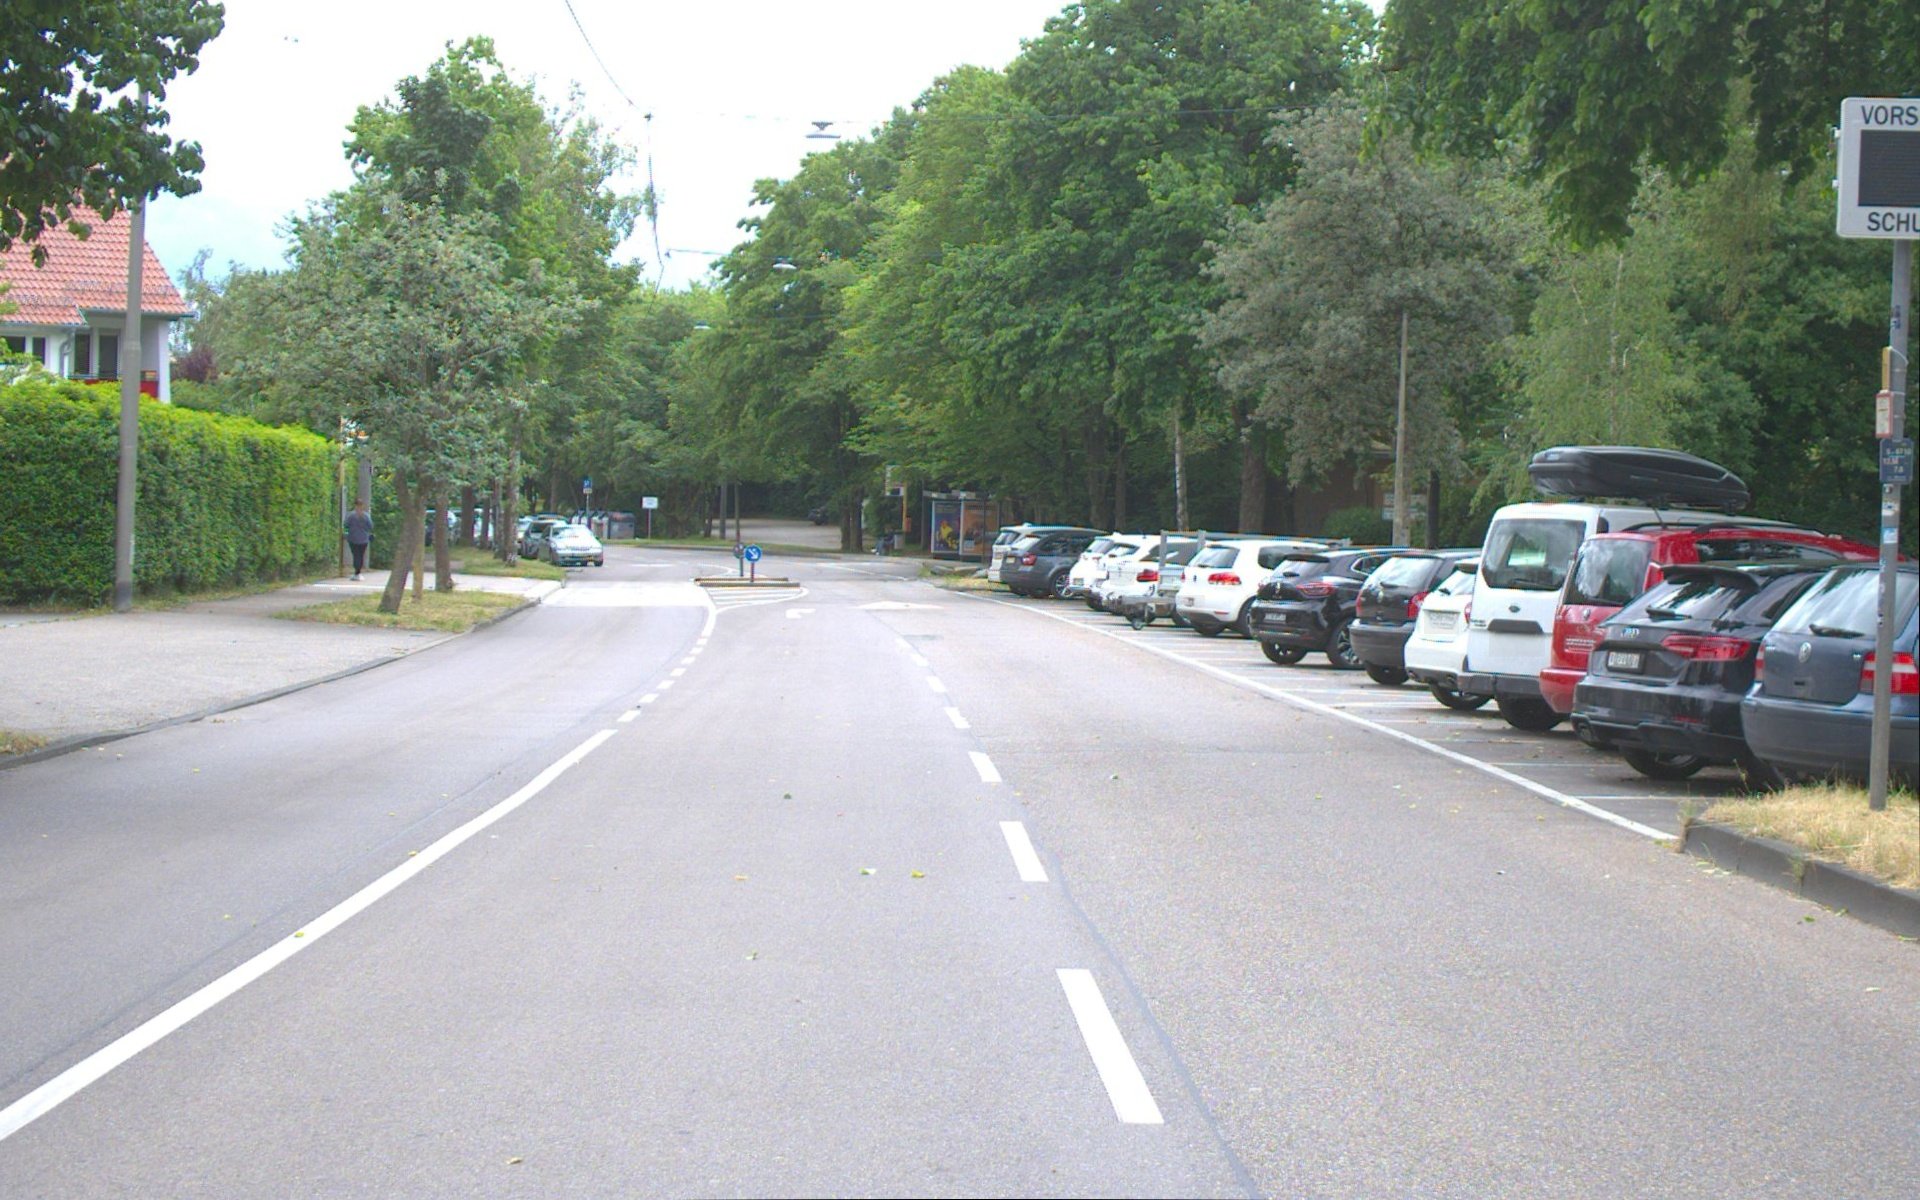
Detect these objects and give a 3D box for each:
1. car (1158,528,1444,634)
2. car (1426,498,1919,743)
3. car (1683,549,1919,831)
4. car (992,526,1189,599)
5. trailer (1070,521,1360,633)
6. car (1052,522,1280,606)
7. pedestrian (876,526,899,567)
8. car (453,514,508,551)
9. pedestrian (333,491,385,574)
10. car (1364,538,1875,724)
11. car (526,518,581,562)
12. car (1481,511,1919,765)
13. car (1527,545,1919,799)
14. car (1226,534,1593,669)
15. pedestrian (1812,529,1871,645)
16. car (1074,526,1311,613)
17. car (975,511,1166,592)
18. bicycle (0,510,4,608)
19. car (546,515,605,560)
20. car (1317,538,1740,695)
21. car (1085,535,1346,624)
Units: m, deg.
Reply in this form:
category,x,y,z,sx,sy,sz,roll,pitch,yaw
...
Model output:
category,x,y,z,sx,sy,sz,roll,pitch,yaw
car,5.144,-0.284,51.927,3.883,1.444,1.744,2,1,-22
car,5.943,0.170,27.269,4.085,1.748,1.787,2,1,-27
car,6.236,0.526,18.965,3.963,1.400,1.757,2,1,-15
car,2.838,-0.822,75.129,3.883,1.424,1.744,2,1,-20
trailer,4.007,-0.362,54.093,4.153,1.568,1.712,2,1,-20
car,3.892,-0.689,65.139,3.883,1.424,1.744,2,1,-20
pedestrian,-2.783,-2.076,132.707,0.741,1.564,0.651,1,1,10
car,-20.274,-2.864,145.136,1.866,1.466,4.001,1,1,-14
pedestrian,-12.686,-1.432,72.624,0.974,1.724,0.849,1,1,-5
car,5.849,0.266,30.646,3.965,1.444,1.919,2,1,-16
car,-14.503,-2.148,122.499,1.866,1.466,4.001,1,1,-8
car,5.961,0.277,24.355,3.995,1.614,1.885,2,1,-17
car,5.773,0.464,21.352,4.026,1.400,1.757,2,1,-18
car,5.332,0.016,40.791,3.883,1.444,1.845,2,1,-24
pedestrian,12.333,-0.194,48.118,0.649,1.598,0.743,1,1,5
car,4.223,-0.551,62.568,3.883,1.424,1.744,2,1,-20
car,2.498,-1.100,77.910,3.883,1.662,1.744,2,1,-20
bicycle,-13.724,-0.572,44.246,2.642,1.262,0.848,1,2,-20
car,-13.092,-2.145,116.964,1.866,1.466,4.001,1,1,-8
car,5.906,0.164,35.796,3.883,1.444,1.845,2,1,-20
car,4.221,-0.340,56.784,3.883,1.305,1.744,2,1,-25
